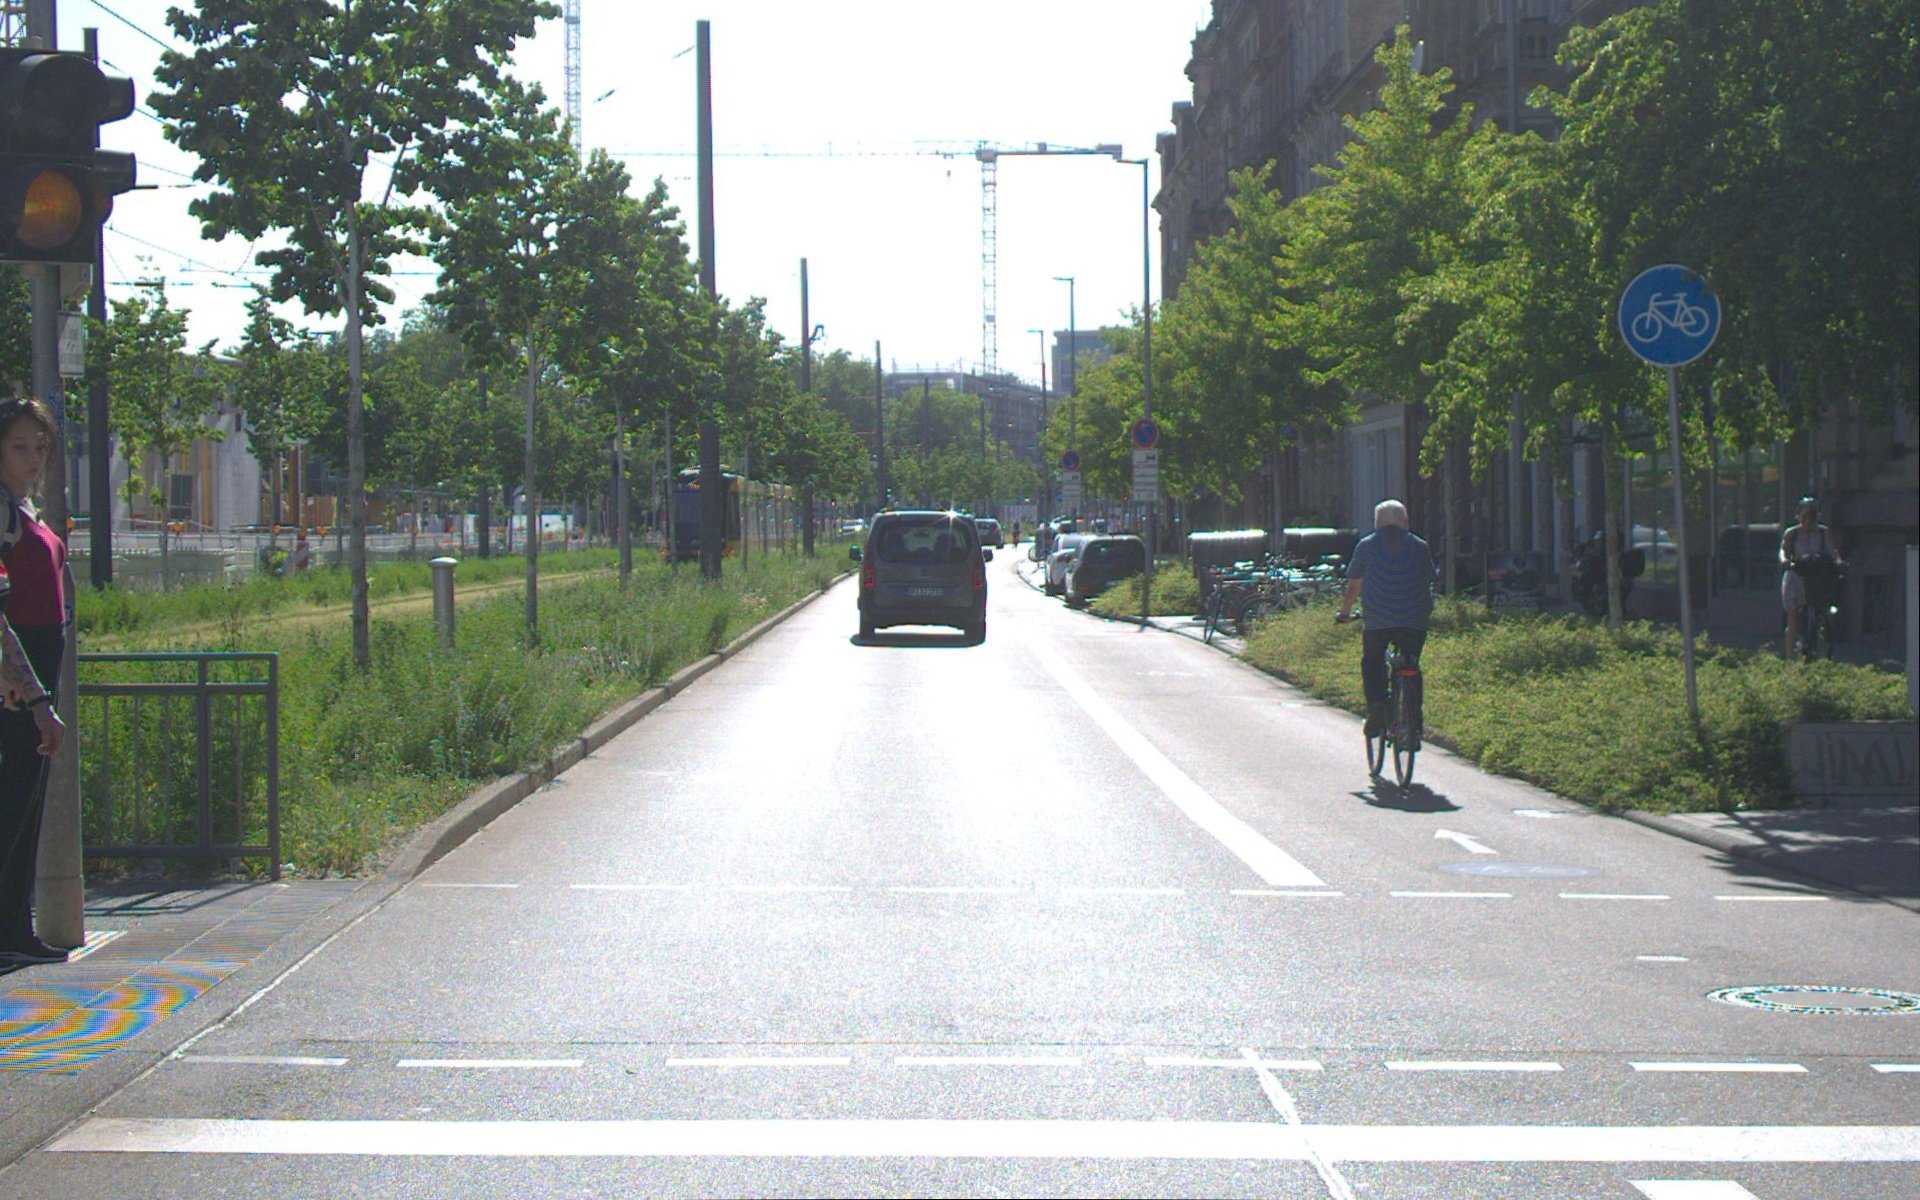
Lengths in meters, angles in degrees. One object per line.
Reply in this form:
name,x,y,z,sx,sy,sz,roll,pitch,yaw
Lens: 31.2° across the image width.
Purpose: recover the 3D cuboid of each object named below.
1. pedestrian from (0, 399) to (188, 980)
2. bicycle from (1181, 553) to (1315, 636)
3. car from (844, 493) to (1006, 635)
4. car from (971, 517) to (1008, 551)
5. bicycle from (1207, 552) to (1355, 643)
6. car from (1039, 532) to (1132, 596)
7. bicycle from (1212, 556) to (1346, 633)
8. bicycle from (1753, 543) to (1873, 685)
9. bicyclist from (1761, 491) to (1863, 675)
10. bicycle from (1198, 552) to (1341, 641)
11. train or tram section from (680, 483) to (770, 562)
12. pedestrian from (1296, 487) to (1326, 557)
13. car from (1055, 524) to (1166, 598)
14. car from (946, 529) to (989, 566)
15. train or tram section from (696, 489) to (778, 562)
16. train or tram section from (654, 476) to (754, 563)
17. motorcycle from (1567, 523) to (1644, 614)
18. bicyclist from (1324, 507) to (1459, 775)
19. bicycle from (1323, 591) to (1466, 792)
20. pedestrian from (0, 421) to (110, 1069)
pedestrian,-3.198,0.290,11.583,1.075,1.902,0.653,-1,1,-7
bicycle,4.117,-0.085,49.140,1.792,1.027,0.527,-5,1,-1
car,-0.517,-0.539,49.375,2.200,1.919,4.654,-1,1,-1
car,1.649,-3.761,196.231,1.993,1.831,4.000,1,1,-1
bicycle,4.172,-0.034,44.752,1.792,1.027,0.527,-5,1,-1
car,3.063,-0.909,84.878,2.028,1.493,4.530,-1,1,-1
bicycle,4.424,-0.079,47.669,1.792,1.027,0.527,-1,1,-1
bicycle,7.692,0.107,31.067,0.583,1.218,1.900,0,1,-1
bicyclist,7.698,-0.160,31.084,0.666,1.633,0.960,-1,1,-1
bicycle,4.148,-0.050,46.126,1.792,1.027,0.527,-5,1,-1
train or tram section,-8.467,-2.755,124.840,2.756,2.733,9.864,1,1,-1
pedestrian,8.143,-1.808,79.820,0.614,1.606,0.669,-1,1,-1
car,3.134,-0.840,72.430,2.028,1.493,4.654,-1,1,-1
car,0.360,-2.523,166.244,1.993,1.723,4.000,1,1,-1
train or tram section,-8.689,-2.872,134.723,2.756,2.733,9.864,1,1,-1
train or tram section,-8.486,-2.642,114.992,2.756,2.733,9.864,1,1,-1
motorcycle,9.249,-0.463,49.309,0.700,1.263,1.982,-1,1,-1
bicyclist,2.753,0.245,22.031,0.684,1.667,0.922,1,1,-1
bicycle,2.757,0.559,21.957,0.601,1.177,1.869,1,1,-1
pedestrian,-2.952,0.387,9.893,0.865,1.782,0.971,0,1,-7
